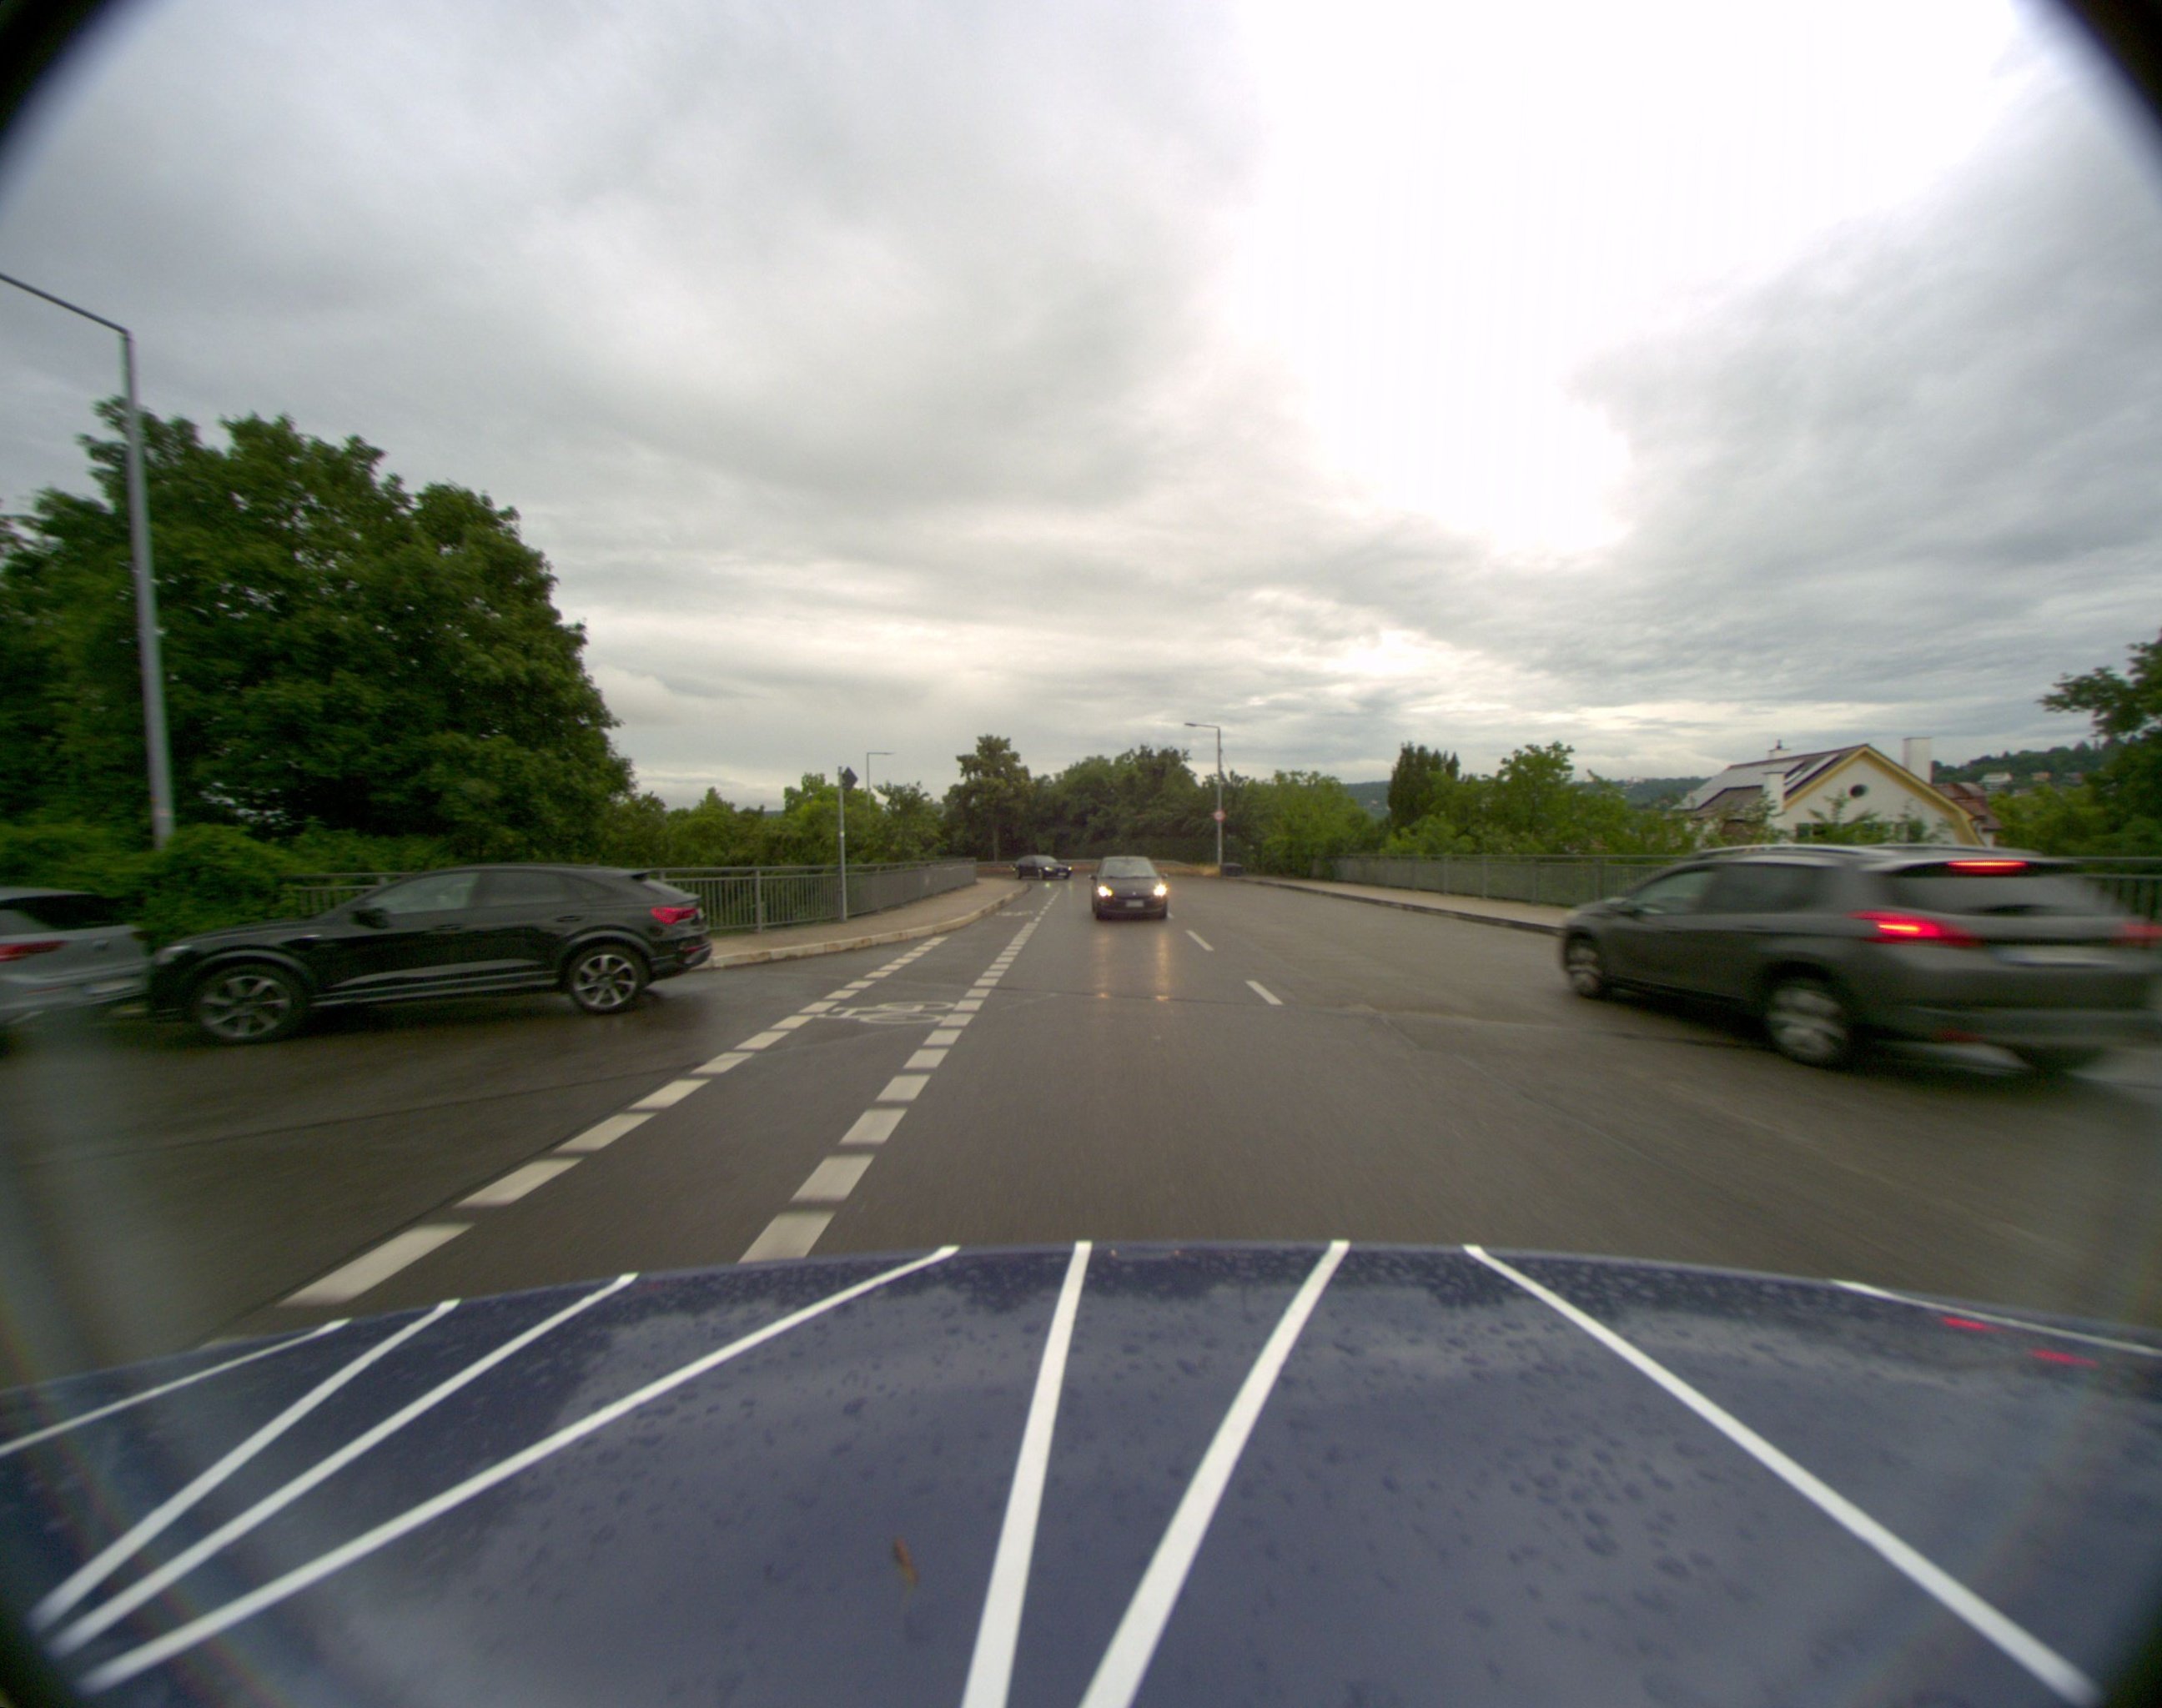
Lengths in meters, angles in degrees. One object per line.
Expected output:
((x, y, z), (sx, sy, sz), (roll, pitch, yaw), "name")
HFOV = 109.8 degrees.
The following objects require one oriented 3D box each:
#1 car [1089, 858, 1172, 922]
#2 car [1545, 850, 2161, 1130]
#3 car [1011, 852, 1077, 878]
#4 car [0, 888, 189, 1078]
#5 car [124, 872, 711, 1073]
((1.120, 0.847, 18.734), (1.681, 1.404, 3.637), (-1, -1, -2), "car")
((5.822, 0.755, 6.273), (1.737, 1.536, 4.001), (1, 1, 4), "car")
((-2.229, 0.612, 44.656), (1.770, 1.445, 4.388), (0, 0, -35), "car")
((-10.749, 1.118, 6.212), (4.060, 1.417, 1.797), (-1, 2, -21), "car")
((-6.317, 1.018, 8.011), (4.206, 1.514, 1.996), (-1, 0, -23), "car")
